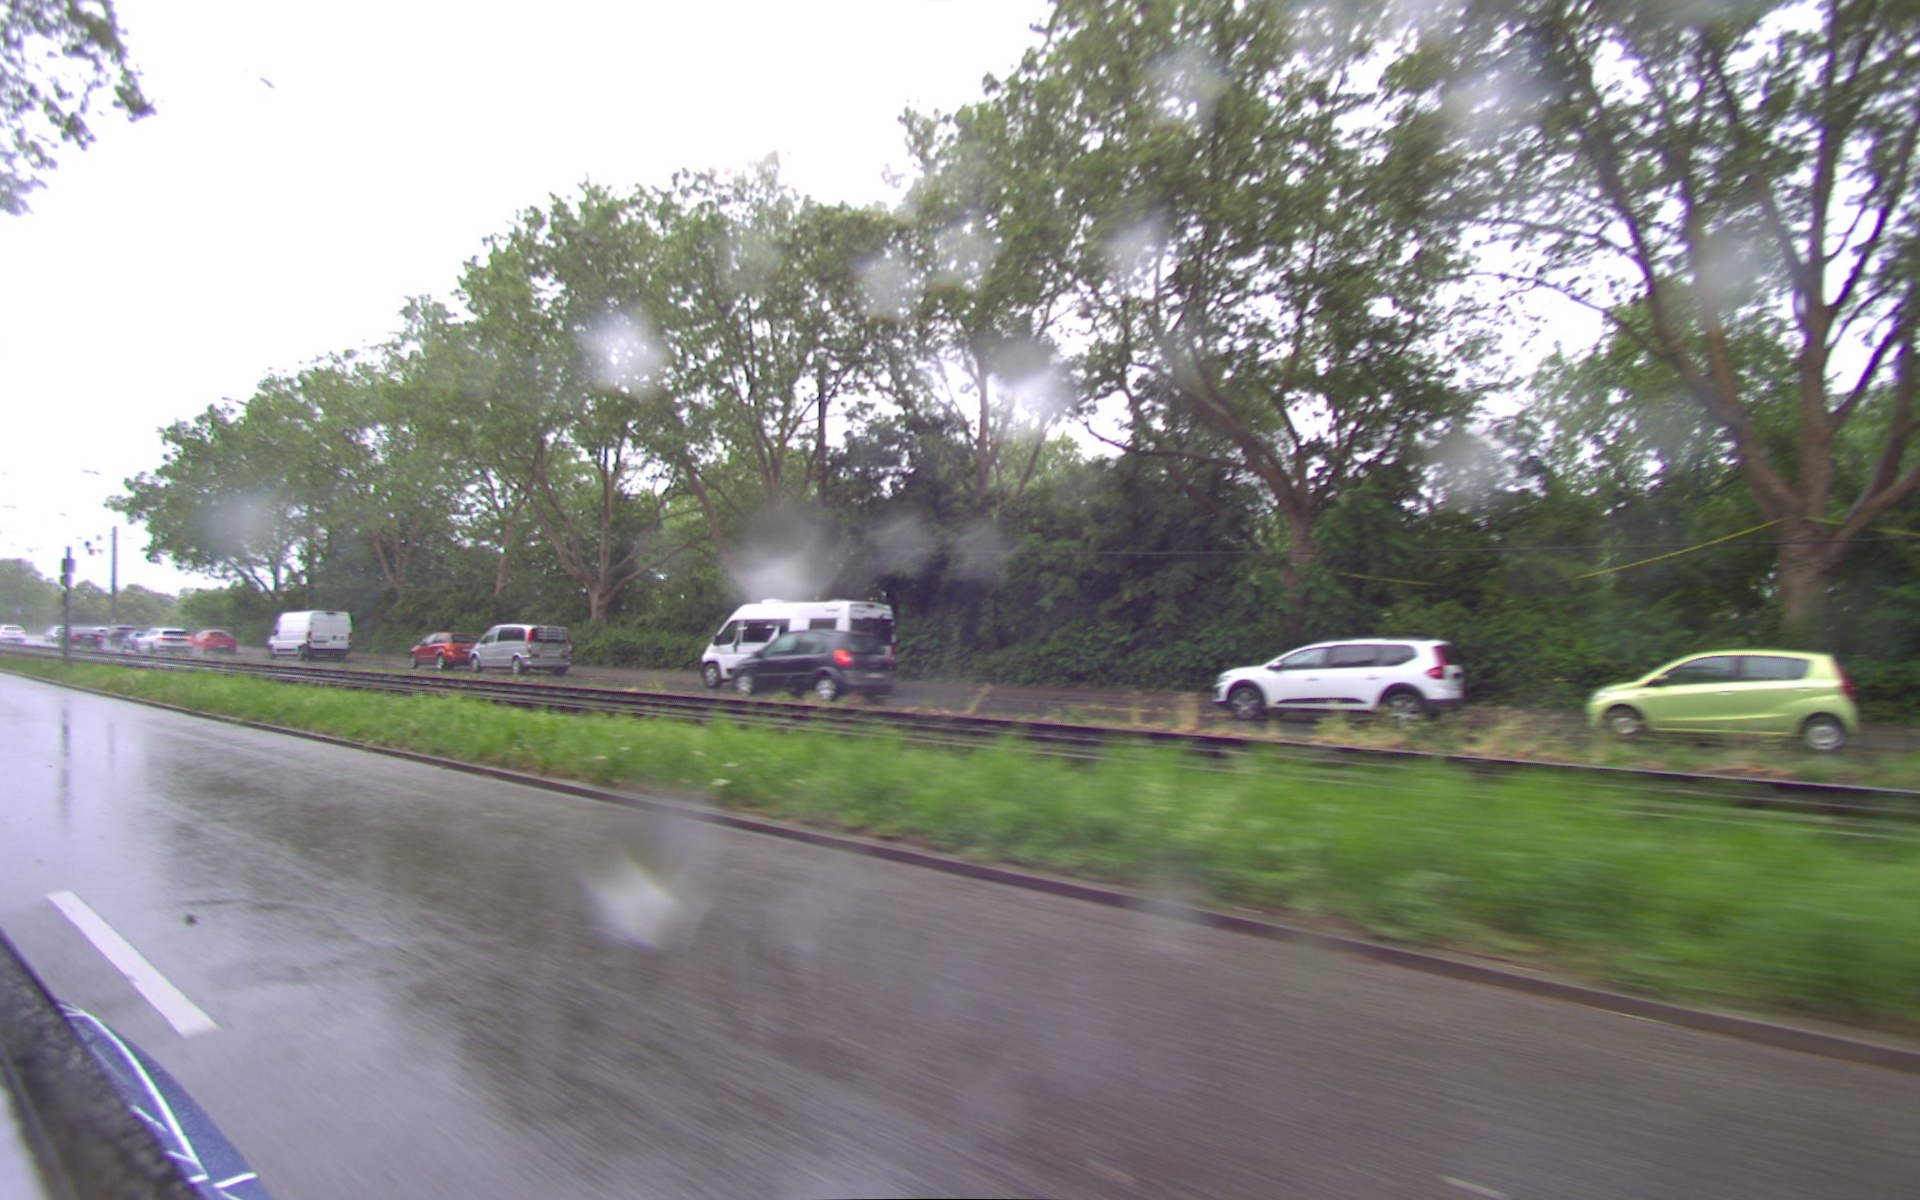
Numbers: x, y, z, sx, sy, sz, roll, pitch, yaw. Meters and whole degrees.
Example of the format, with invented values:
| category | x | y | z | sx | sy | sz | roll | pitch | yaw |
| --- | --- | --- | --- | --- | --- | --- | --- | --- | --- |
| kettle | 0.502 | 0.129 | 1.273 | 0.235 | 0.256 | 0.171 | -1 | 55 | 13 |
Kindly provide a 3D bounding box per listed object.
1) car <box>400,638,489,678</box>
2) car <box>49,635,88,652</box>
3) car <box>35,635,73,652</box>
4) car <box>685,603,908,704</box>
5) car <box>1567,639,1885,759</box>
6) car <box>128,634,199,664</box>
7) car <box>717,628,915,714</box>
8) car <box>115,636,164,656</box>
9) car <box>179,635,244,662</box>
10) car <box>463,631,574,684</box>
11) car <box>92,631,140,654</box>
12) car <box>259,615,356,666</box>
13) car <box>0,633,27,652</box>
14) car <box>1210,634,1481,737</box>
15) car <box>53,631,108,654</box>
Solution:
| category | x | y | z | sx | sy | sz | roll | pitch | yaw |
| --- | --- | --- | --- | --- | --- | --- | --- | --- | --- |
| car | -21.544 | 2.413 | 42.239 | 4.020 | 1.564 | 1.800 | -1 | -4 | 39 |
| car | -77.169 | 3.774 | 87.592 | 3.918 | 1.442 | 1.633 | -1 | -4 | 36 |
| car | -81.181 | 3.877 | 90.656 | 4.145 | 1.442 | 1.633 | -1 | -4 | 37 |
| car | -4.745 | 1.489 | 28.703 | 6.556 | 2.560 | 2.367 | -1 | -4 | 37 |
| car | 11.948 | 1.479 | 16.049 | 3.807 | 1.661 | 1.744 | -1 | -4 | 37 |
| car | -44.757 | 2.747 | 56.849 | 4.761 | 1.579 | 1.959 | -1 | -4 | 38 |
| car | -3.296 | 1.541 | 22.869 | 4.253 | 1.764 | 2.012 | -1 | -4 | 37 |
| car | -58.668 | 3.289 | 72.326 | 3.961 | 1.389 | 1.867 | -1 | -4 | 39 |
| car | -45.760 | 2.964 | 61.821 | 4.378 | 1.564 | 2.014 | -1 | -4 | 38 |
| car | -16.861 | 2.158 | 38.571 | 4.635 | 1.876 | 1.937 | -1 | -4 | 39 |
| car | -63.471 | 3.213 | 76.115 | 4.364 | 1.663 | 1.867 | -1 | -4 | 39 |
| car | -33.717 | 2.083 | 52.230 | 6.132 | 2.465 | 2.307 | -1 | -4 | 39 |
| car | -82.645 | 3.624 | 87.536 | 4.989 | 1.564 | 2.014 | -1 | -4 | 38 |
| car | 7.256 | 1.549 | 19.292 | 4.524 | 1.741 | 1.734 | -1 | -4 | 37 |
| car | -59.602 | 2.862 | 68.563 | 4.561 | 1.564 | 2.013 | -2 | -3 | 39 |
